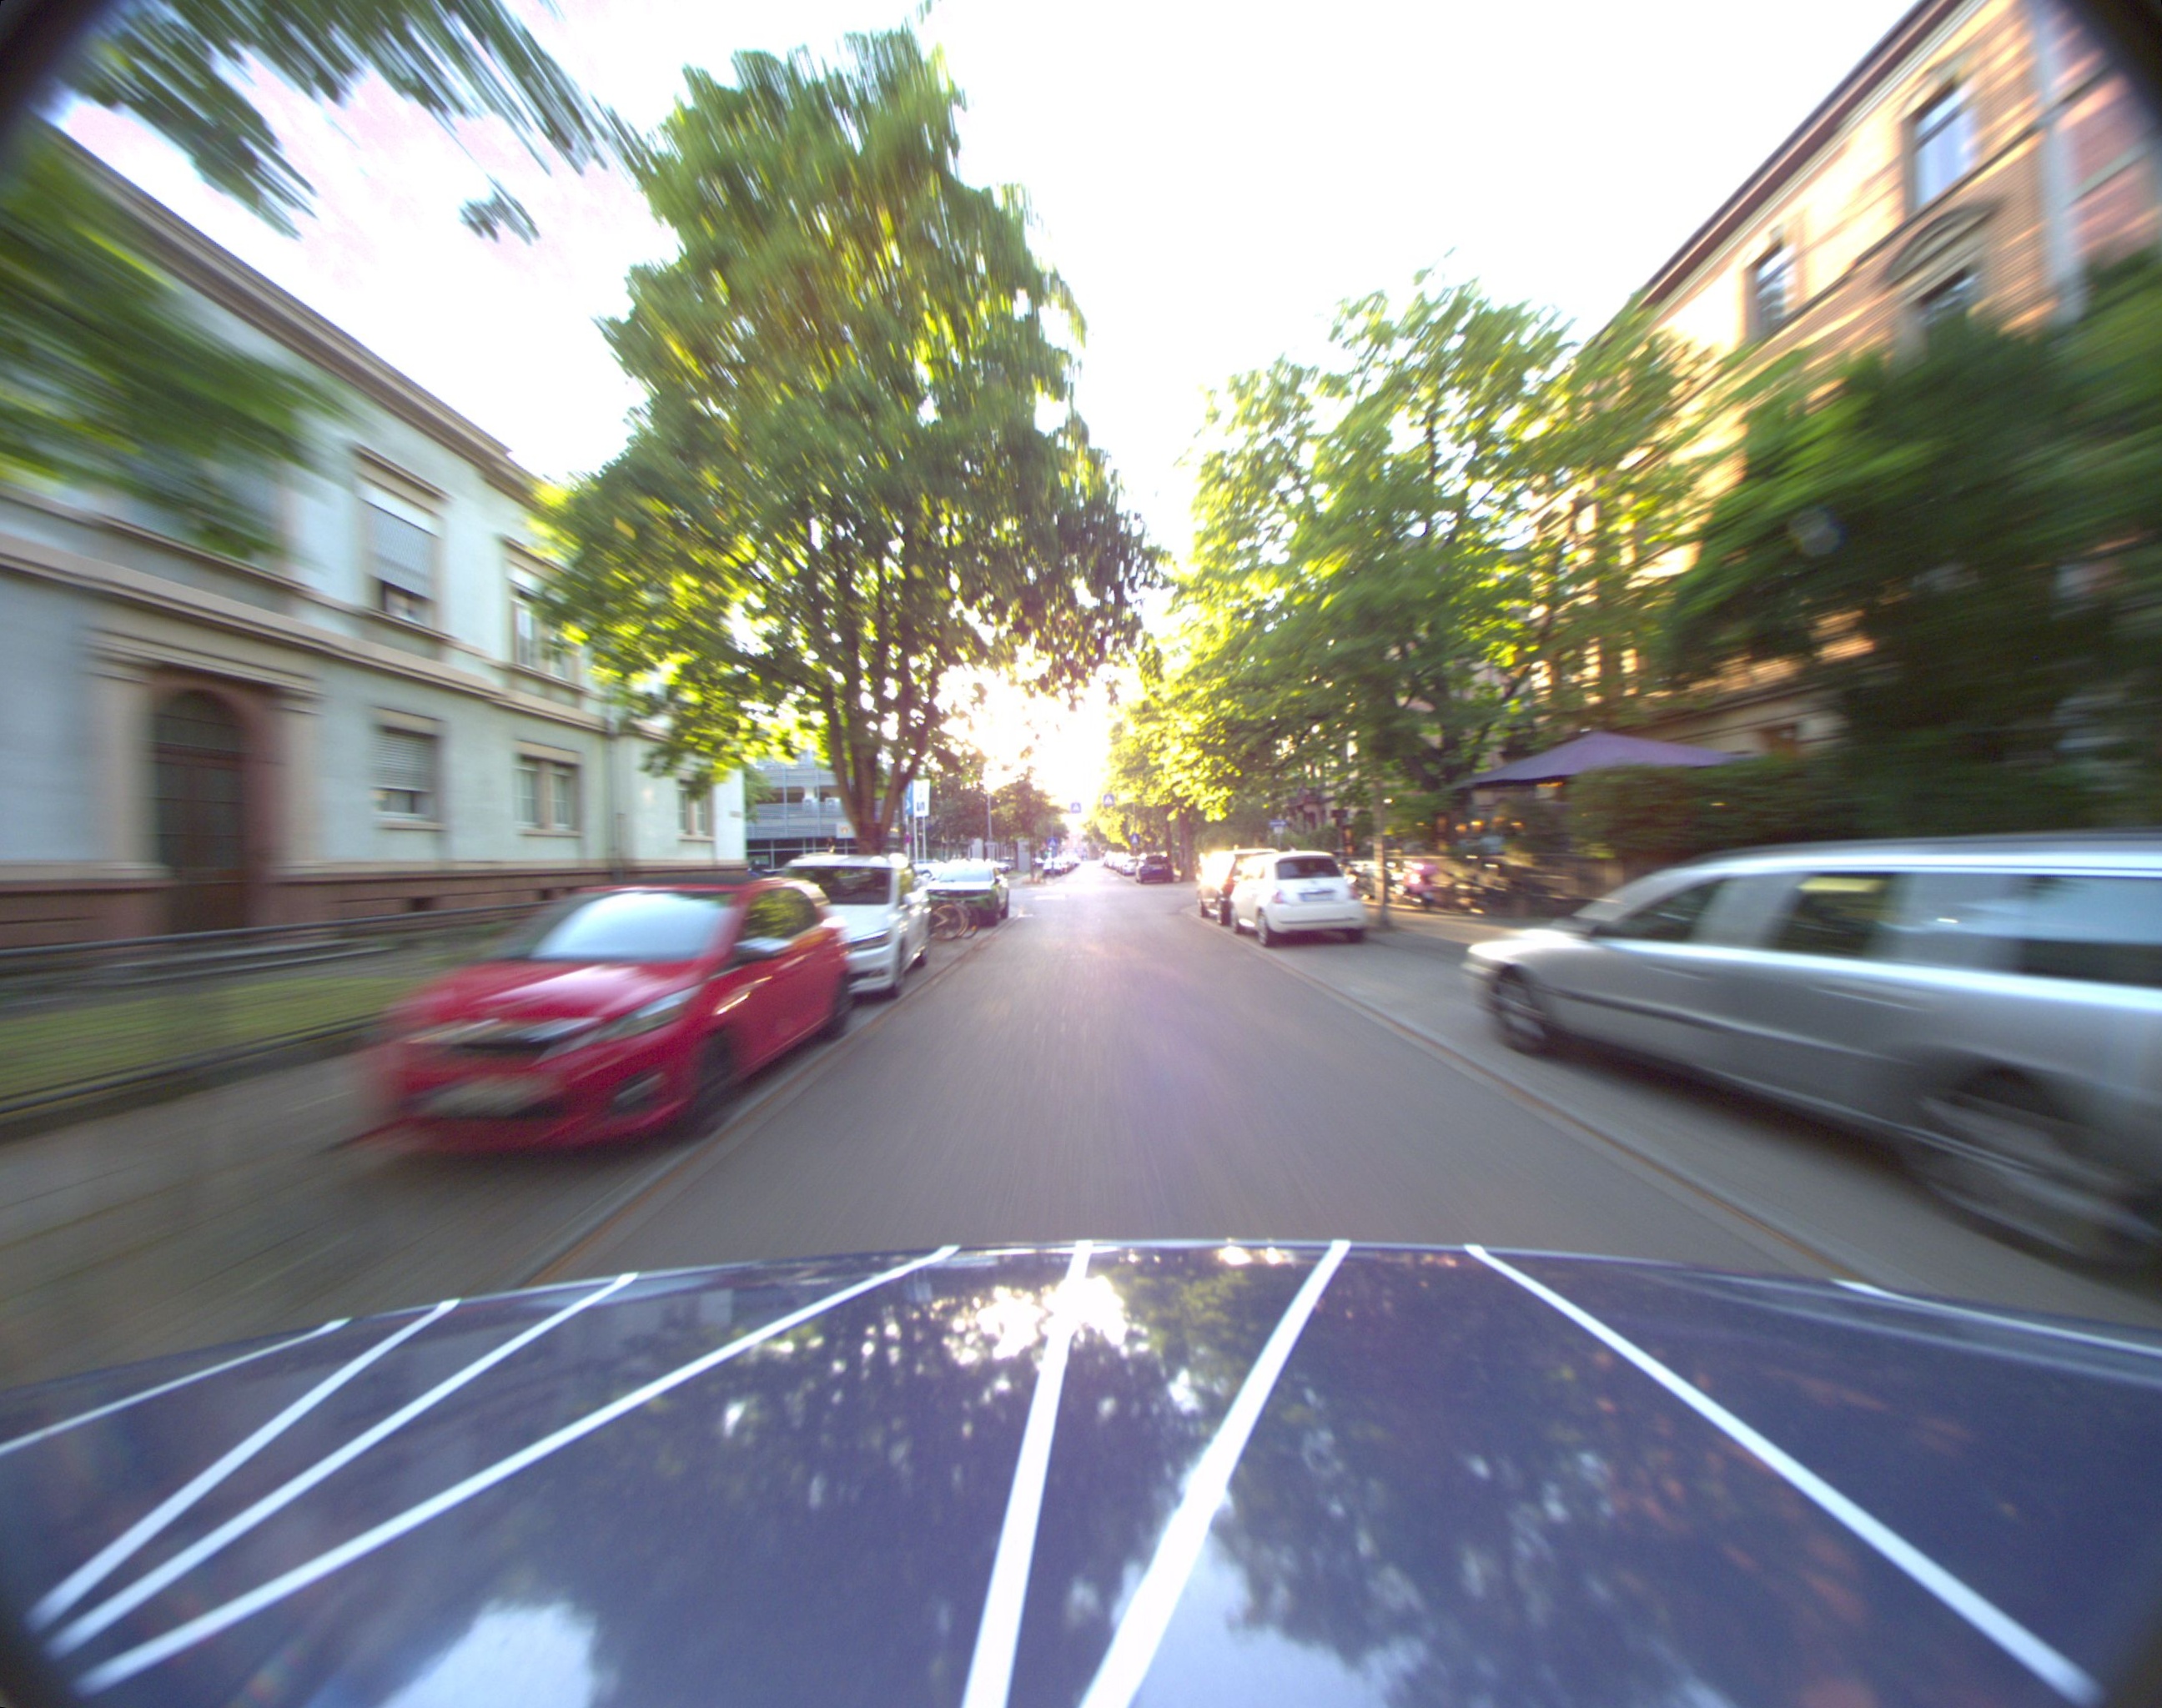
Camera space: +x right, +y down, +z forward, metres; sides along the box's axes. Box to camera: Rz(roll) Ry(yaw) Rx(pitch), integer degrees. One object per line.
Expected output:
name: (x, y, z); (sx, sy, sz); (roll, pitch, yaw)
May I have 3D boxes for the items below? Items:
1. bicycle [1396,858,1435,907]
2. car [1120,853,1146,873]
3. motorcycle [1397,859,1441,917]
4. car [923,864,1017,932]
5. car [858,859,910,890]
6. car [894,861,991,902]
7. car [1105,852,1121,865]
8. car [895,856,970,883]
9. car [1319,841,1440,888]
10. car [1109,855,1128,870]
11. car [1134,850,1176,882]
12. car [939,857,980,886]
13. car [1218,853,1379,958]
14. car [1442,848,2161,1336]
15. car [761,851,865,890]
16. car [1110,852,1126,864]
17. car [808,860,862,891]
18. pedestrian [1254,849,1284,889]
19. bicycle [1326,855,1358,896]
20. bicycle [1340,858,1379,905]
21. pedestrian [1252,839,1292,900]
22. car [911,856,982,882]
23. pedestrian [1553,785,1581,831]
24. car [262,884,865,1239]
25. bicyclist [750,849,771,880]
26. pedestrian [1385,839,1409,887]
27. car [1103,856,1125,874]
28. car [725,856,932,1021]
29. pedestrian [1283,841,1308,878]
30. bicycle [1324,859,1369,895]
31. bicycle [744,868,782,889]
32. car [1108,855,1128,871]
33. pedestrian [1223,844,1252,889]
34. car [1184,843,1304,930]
bicycle: (8.545, 0.692, 19.477); (0.392, 1.137, 1.958); (-4, 0, 11)
car: (4.178, 0.732, 61.435); (1.617, 1.433, 3.754); (-4, 0, -2)
motorcycle: (7.563, 0.737, 17.073); (0.392, 1.179, 1.958); (-3, 0, 11)
car: (-2.752, 1.046, 19.674); (1.735, 1.547, 3.963); (1, -1, 2)
car: (-11.545, 1.167, 44.750); (1.716, 1.596, 4.127); (-2, 1, 3)
car: (-5.613, 1.091, 30.458); (1.816, 1.492, 4.161); (-1, -1, -43)
car: (3.779, 0.588, 90.117); (1.617, 1.433, 4.104); (-3, 0, -1)
car: (-9.855, 1.031, 50.776); (4.588, 1.634, 1.872); (-2, 0, 0)
car: (10.690, 0.364, 27.271); (3.861, 1.536, 1.631); (-1, -1, -18)
car: (3.864, 0.917, 79.198); (1.617, 1.433, 4.104); (-3, 0, -1)
car: (4.187, 0.668, 43.403); (1.871, 1.677, 4.592); (-3, 0, 0)
car: (-7.159, 0.997, 45.111); (1.767, 1.562, 3.902); (-2, 0, 0)
car: (3.666, 0.799, 13.471); (1.668, 1.484, 3.710); (-4, 0, 0)
car: (4.021, 0.726, 3.841); (1.845, 1.403, 4.599); (-3, 0, -5)
car: (-11.749, 0.720, 33.493); (3.939, 1.536, 1.633); (-2, 1, 4)
car: (4.624, 0.516, 94.506); (1.617, 1.433, 4.104); (-3, 0, -1)
car: (-14.532, 1.235, 45.127); (1.704, 1.583, 3.693); (-2, 2, 5)
pedestrian: (7.717, 0.605, 31.196); (0.688, 1.621, 1.051); (-1, 1, -25)
bicycle: (8.083, 0.643, 23.567); (0.392, 1.137, 1.746); (-6, 1, 4)
bicycle: (7.670, 0.737, 21.010); (0.392, 1.179, 1.957); (-5, 0, 4)
pedestrian: (6.404, 0.506, 25.559); (0.869, 2.002, 1.008); (-1, 1, -19)
car: (-9.425, 1.049, 53.343); (4.588, 1.606, 1.872); (-2, 0, 0)
pedestrian: (15.383, -1.453, 24.063); (0.524, 1.404, 0.463); (-1, -1, -14)
car: (-2.879, 1.016, 5.302); (1.668, 1.491, 3.694); (1, -1, 0)
bicyclist: (-16.430, 0.556, 38.995); (0.821, 1.568, 0.511); (-2, -1, 18)
pedestrian: (9.527, 0.277, 22.929); (0.430, 1.442, 0.462); (-1, -1, -31)
car: (2.969, 0.983, 68.693); (1.617, 1.433, 4.310); (-3, 0, -1)
car: (-2.962, 0.879, 9.802); (1.669, 1.668, 4.118); (1, -1, -6)
pedestrian: (10.977, 0.267, 38.836); (0.925, 1.814, 0.779); (-4, 4, -10)
bicycle: (8.466, 0.711, 24.203); (1.832, 1.092, 0.391); (-1, -1, -38)
bicycle: (-16.335, 1.263, 39.016); (1.902, 1.028, 0.539); (-1, 2, 18)
car: (3.616, 0.910, 74.453); (1.617, 1.433, 4.310); (-3, 0, -1)
pedestrian: (6.605, 0.516, 32.045); (0.688, 1.824, 1.007); (-1, 1, -25)
car: (3.644, 0.692, 17.702); (1.669, 1.667, 3.846); (-4, 0, -3)
